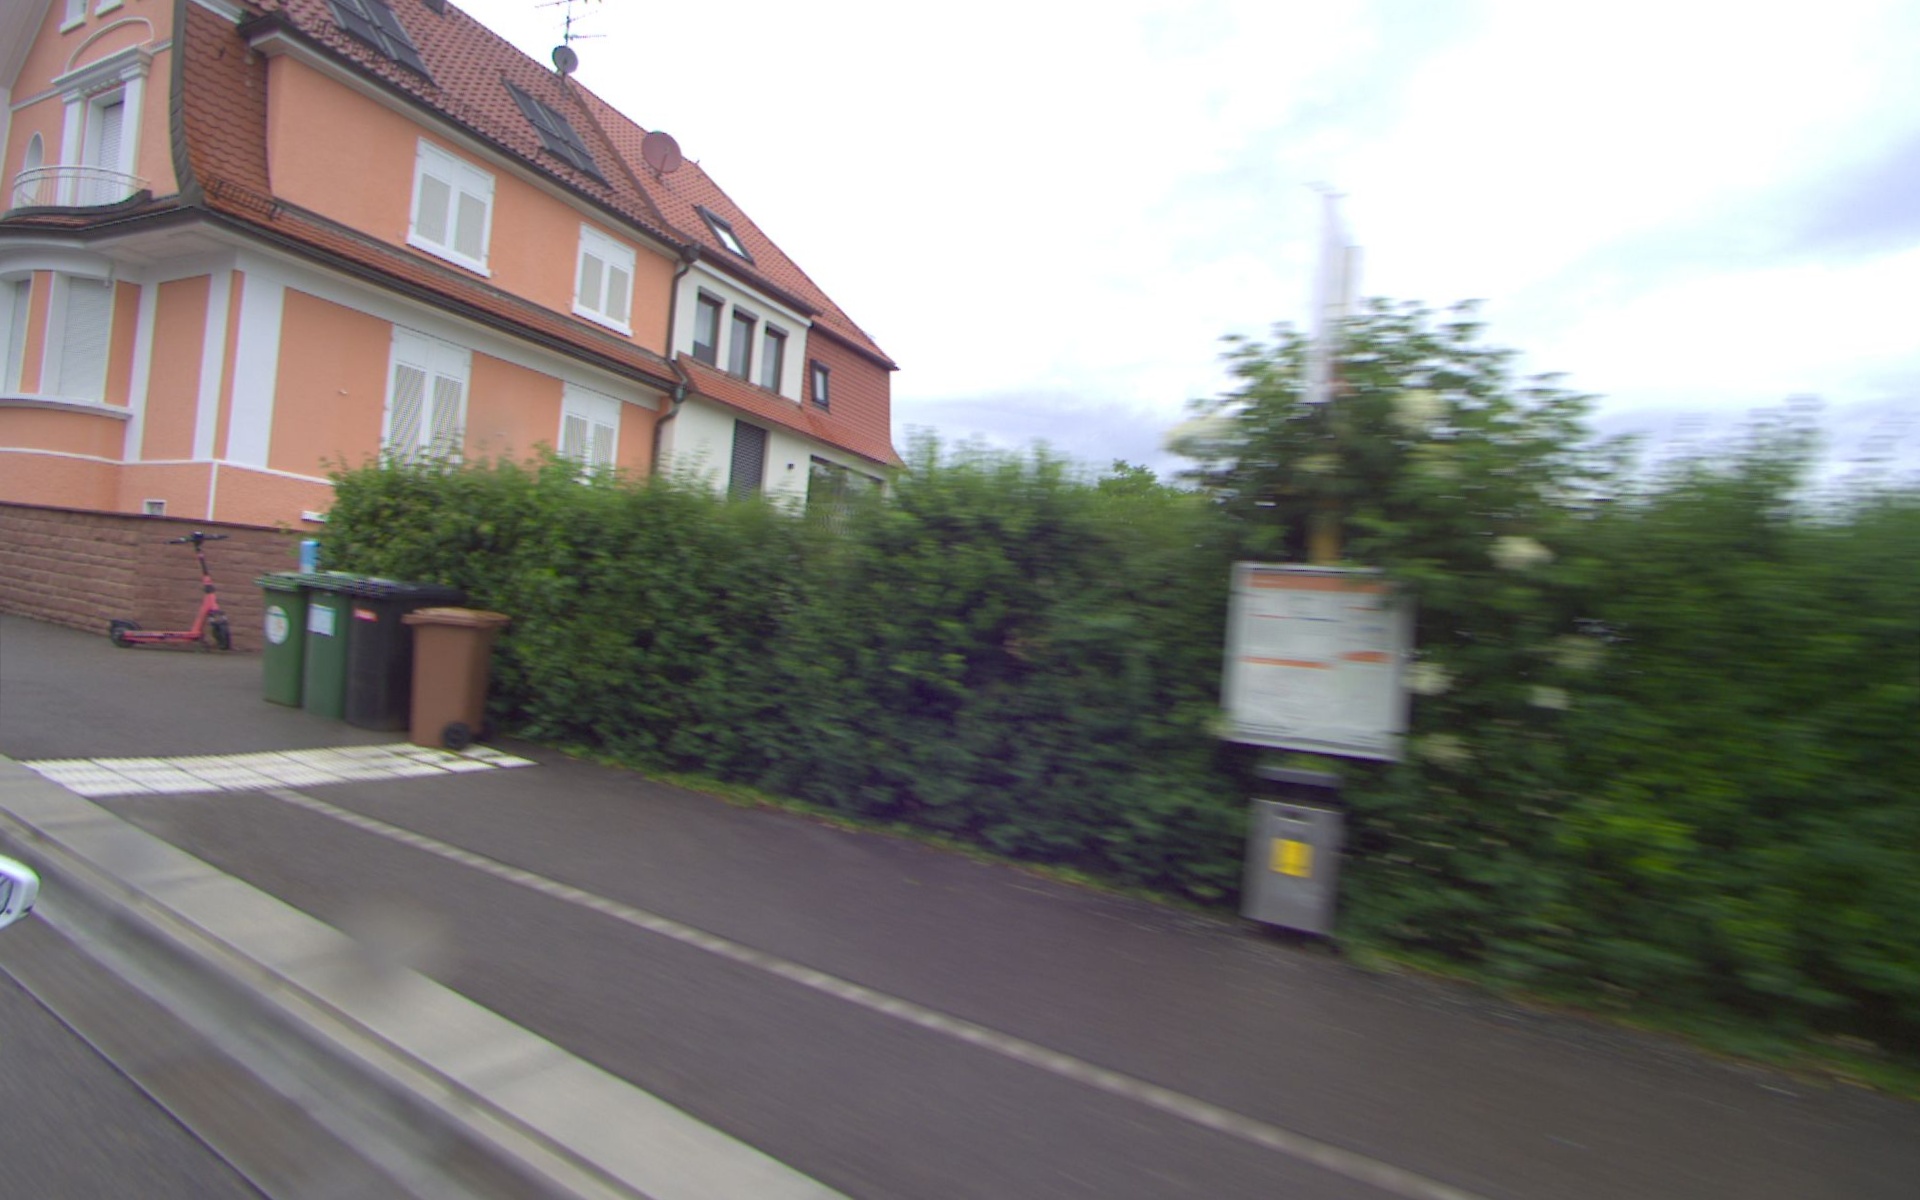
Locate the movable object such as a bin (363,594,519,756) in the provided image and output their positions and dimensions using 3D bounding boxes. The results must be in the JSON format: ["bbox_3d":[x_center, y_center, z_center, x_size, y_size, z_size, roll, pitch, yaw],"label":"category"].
[{"bbox_3d":[-3.540,0.505,6.911,0.658,0.980,0.571,8,-1,-4],"label":"movable object such as a bin"}]

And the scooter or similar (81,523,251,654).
[{"bbox_3d":[-8.342,-0.110,10.633,1.247,1.240,0.690,5,1,-29],"label":"scooter or similar"}]

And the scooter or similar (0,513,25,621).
[{"bbox_3d":[-11.811,-0.454,11.970,1.279,1.239,0.693,7,0,37],"label":"scooter or similar"}]

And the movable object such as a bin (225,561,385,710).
[{"bbox_3d":[-5.138,0.273,7.903,0.744,1.043,0.712,7,2,27],"label":"movable object such as a bin"}]
